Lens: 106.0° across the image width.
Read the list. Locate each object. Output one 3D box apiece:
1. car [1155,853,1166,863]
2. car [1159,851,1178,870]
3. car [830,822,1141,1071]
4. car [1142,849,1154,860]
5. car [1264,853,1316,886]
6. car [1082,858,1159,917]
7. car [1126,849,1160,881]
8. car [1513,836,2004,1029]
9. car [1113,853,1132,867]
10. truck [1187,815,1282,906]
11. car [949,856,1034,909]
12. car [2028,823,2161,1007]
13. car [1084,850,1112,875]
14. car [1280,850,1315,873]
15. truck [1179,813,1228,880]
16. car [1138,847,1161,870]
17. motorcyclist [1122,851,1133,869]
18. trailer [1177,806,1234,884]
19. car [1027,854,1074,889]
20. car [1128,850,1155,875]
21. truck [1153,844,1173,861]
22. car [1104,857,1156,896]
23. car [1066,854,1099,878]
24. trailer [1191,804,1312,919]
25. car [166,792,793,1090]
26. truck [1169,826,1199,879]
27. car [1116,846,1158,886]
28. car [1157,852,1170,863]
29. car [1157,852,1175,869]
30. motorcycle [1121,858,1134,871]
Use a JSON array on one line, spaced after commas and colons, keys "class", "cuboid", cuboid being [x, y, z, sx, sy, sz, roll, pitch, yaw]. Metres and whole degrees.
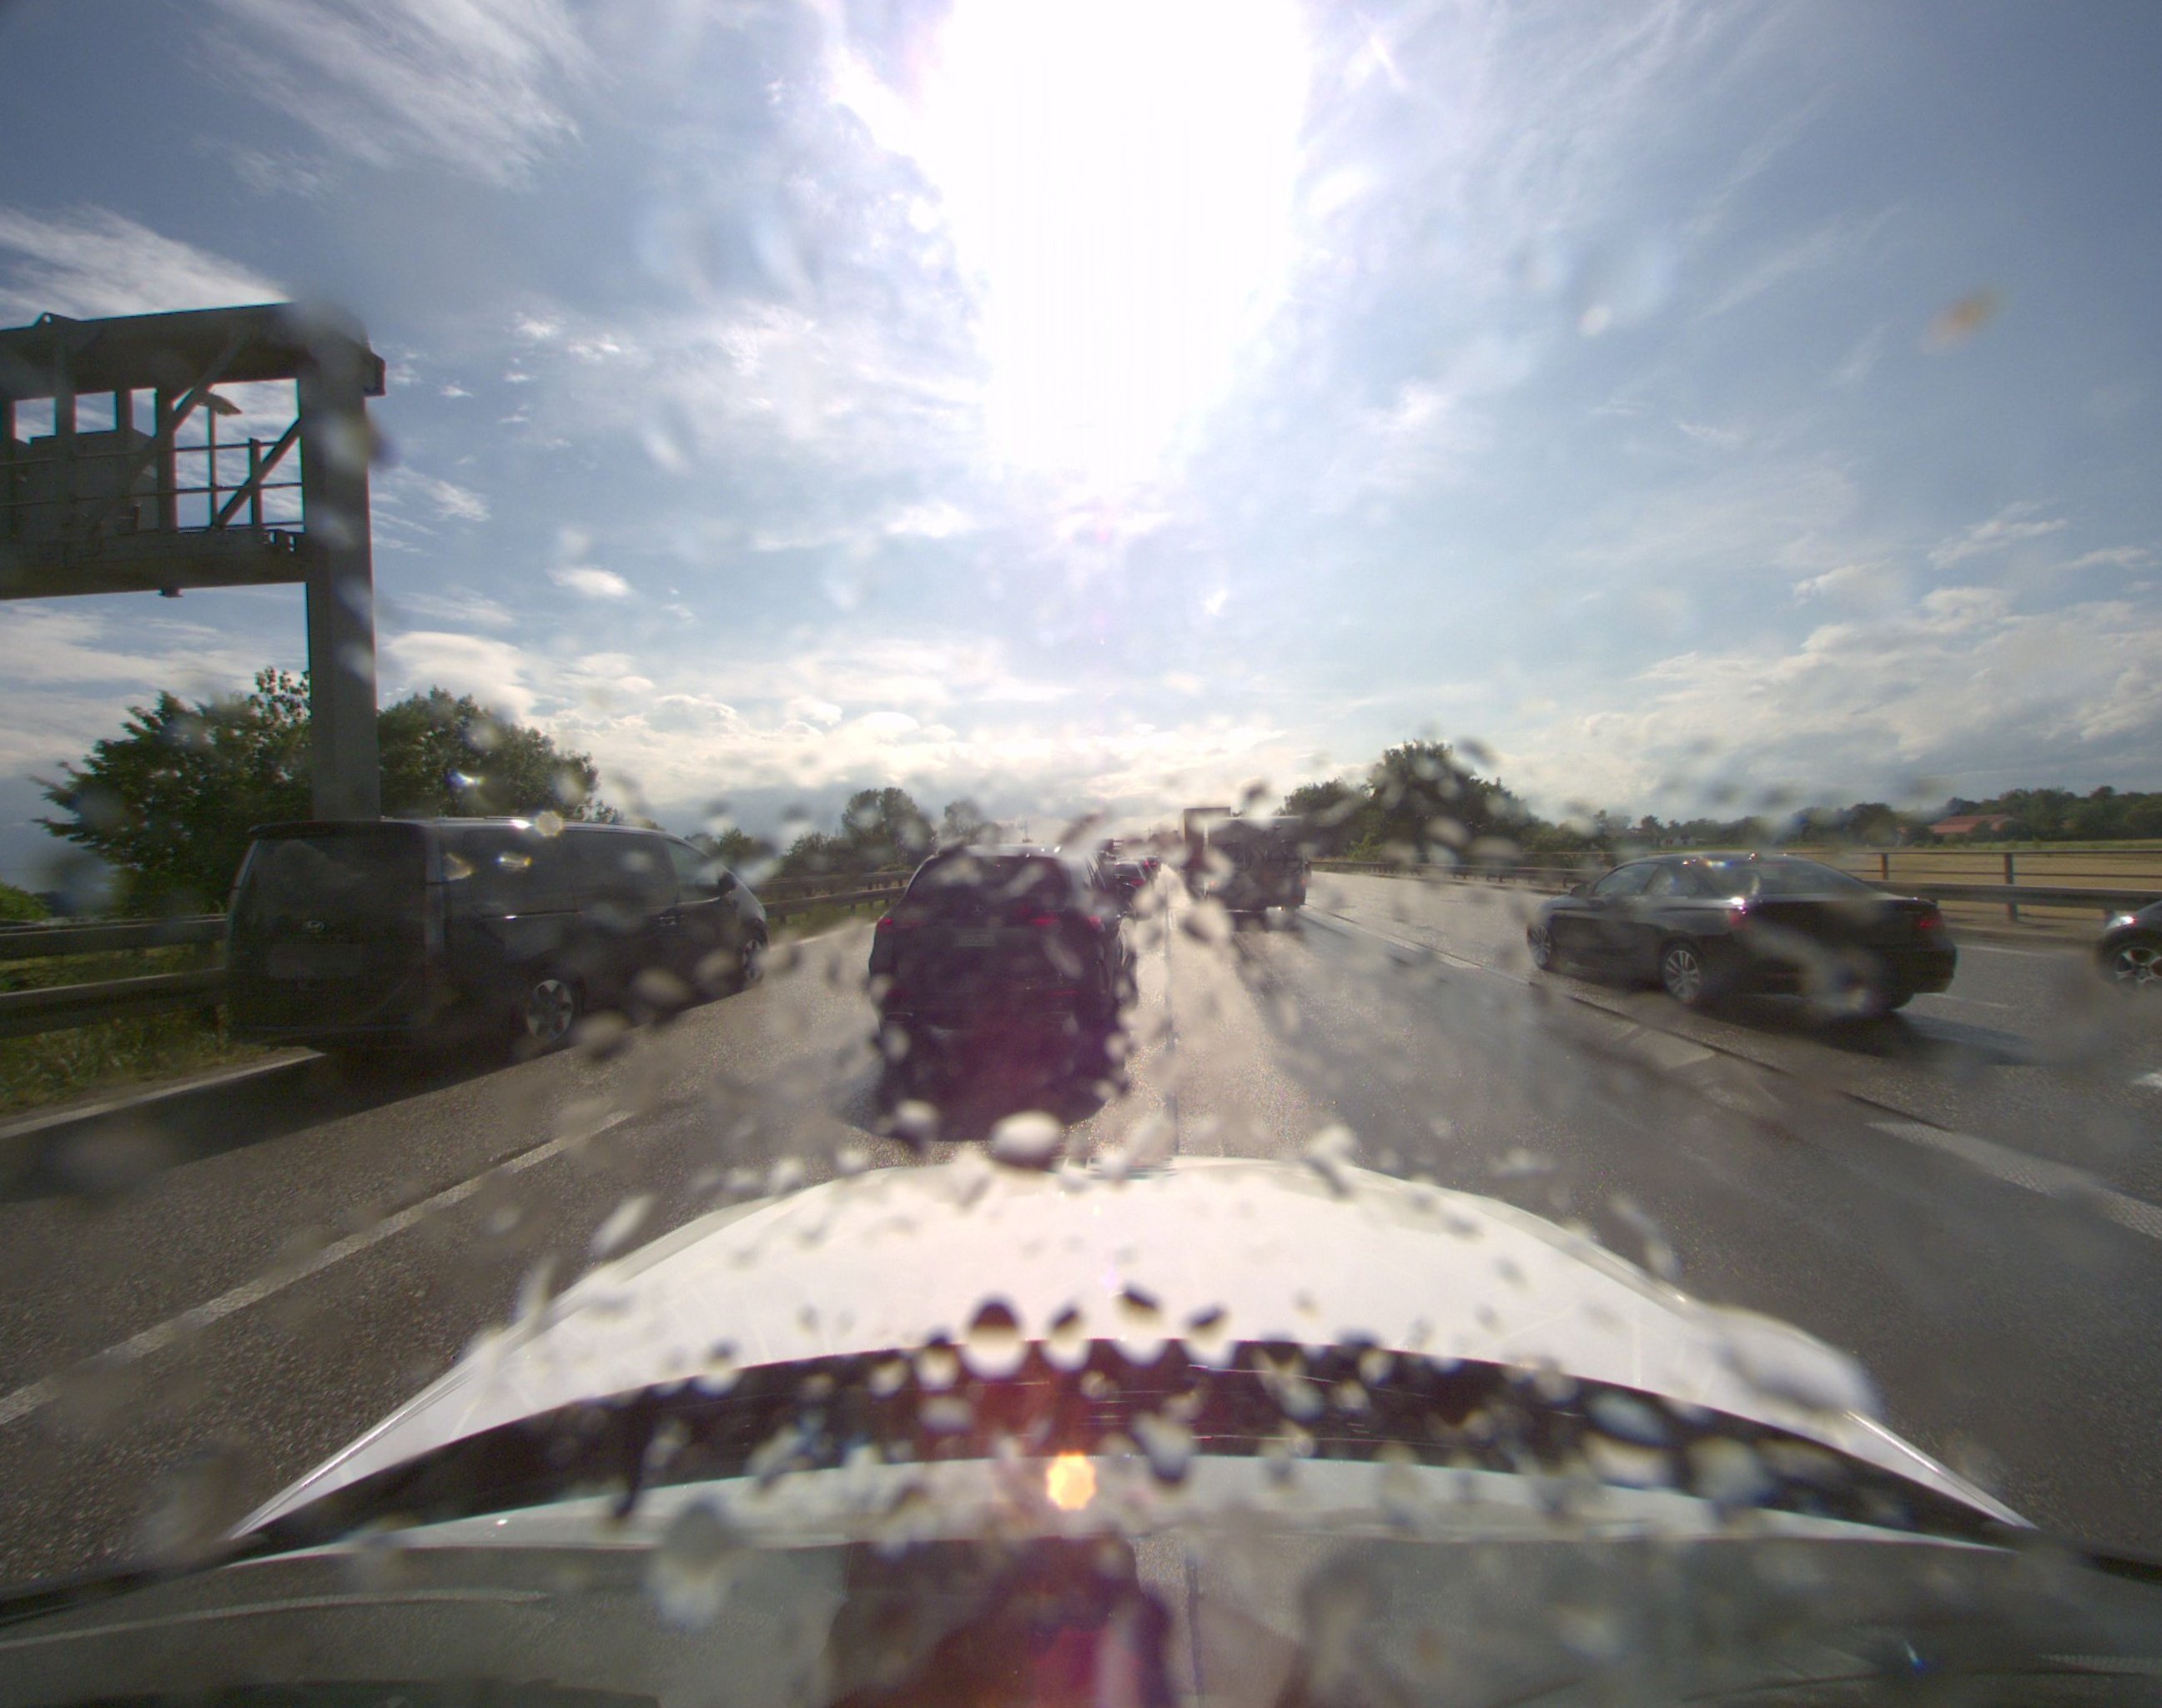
[{"class": "car", "cuboid": [15.048, 0.804, 154.015, 1.868, 1.760, 4.003, -1, 0, 3]}, {"class": "car", "cuboid": [9.473, 0.711, 88.384, 1.983, 2.013, 4.007, 0, 0, 6]}, {"class": "car", "cuboid": [-0.506, 0.651, 7.712, 1.984, 1.661, 4.412, -1, -1, 5]}, {"class": "car", "cuboid": [11.480, 0.139, 139.975, 1.868, 1.760, 4.003, -1, 0, 3]}, {"class": "car", "cuboid": [9.571, 0.676, 37.615, 1.731, 1.420, 3.841, -2, 0, 5]}, {"class": "car", "cuboid": [1.143, 0.824, 21.704, 1.748, 1.387, 3.952, -2, 0, 7]}, {"class": "car", "cuboid": [4.182, 0.699, 54.439, 1.983, 2.013, 4.007, 2, 0, 6]}, {"class": "car", "cuboid": [6.420, 0.635, 8.516, 1.839, 1.464, 4.262, -2, -1, 5]}, {"class": "car", "cuboid": [5.138, 0.695, 99.603, 1.983, 1.616, 4.007, 2, 0, 6]}, {"class": "truck", "cuboid": [4.565, 0.207, 25.180, 2.362, 2.477, 5.765, -1, 0, 6]}, {"class": "car", "cuboid": [-2.748, 0.853, 26.019, 1.748, 1.516, 4.216, -2, 0, 7]}, {"class": "car", "cuboid": [10.049, 0.504, 5.933, 1.839, 1.568, 4.006, -1, 0, 5]}, {"class": "car", "cuboid": [1.525, 0.722, 71.779, 1.983, 2.013, 4.007, 2, 0, 6]}, {"class": "car", "cuboid": [15.913, 0.514, 60.000, 1.779, 1.613, 4.392, -2, 0, 6]}, {"class": "truck", "cuboid": [8.071, -0.459, 53.765, 2.979, 4.166, 5.251, -1, 0, 8]}, {"class": "car", "cuboid": [6.536, 0.400, 77.495, 1.983, 2.013, 4.007, -2, 0, 6]}, {"class": "motorcyclist", "cuboid": [4.552, 0.583, 80.063, 1.058, 1.718, 0.786, -1, -1, 6]}, {"class": "trailer", "cuboid": [7.316, -0.471, 48.264, 2.990, 4.166, 8.554, -1, 0, 8]}, {"class": "car", "cuboid": [-1.517, 0.861, 42.416, 1.984, 1.720, 4.005, -1, 0, 4]}, {"class": "car", "cuboid": [4.893, 0.671, 65.694, 1.983, 2.014, 4.007, 0, 0, 6]}, {"class": "truck", "cuboid": [19.372, -0.279, 193.412, 3.828, 4.017, 11.225, -1, 0, 2]}, {"class": "car", "cuboid": [1.953, 0.828, 31.507, 1.797, 1.407, 4.006, -1, 0, 6]}, {"class": "car", "cuboid": [0.142, 0.868, 61.478, 1.983, 1.772, 4.007, 0, 0, 6]}, {"class": "trailer", "cuboid": [4.161, 0.186, 21.107, 2.362, 2.483, 6.533, -1, 0, 6]}, {"class": "car", "cuboid": [-5.115, 0.614, 8.236, 1.983, 2.013, 5.279, -2, 0, 7]}, {"class": "truck", "cuboid": [9.940, -0.110, 79.369, 2.490, 4.830, 7.552, -1, -1, 5]}, {"class": "car", "cuboid": [2.984, 0.622, 42.893, 1.983, 2.014, 4.007, -1, 0, 6]}, {"class": "car", "cuboid": [13.695, 0.651, 134.999, 1.868, 1.760, 4.003, -1, 0, 3]}, {"class": "car", "cuboid": [10.303, 0.765, 98.559, 1.983, 2.013, 4.007, 2, 0, 6]}, {"class": "motorcycle", "cuboid": [4.557, 1.043, 80.029, 1.068, 1.271, 2.695, -1, 0, 6]}]
